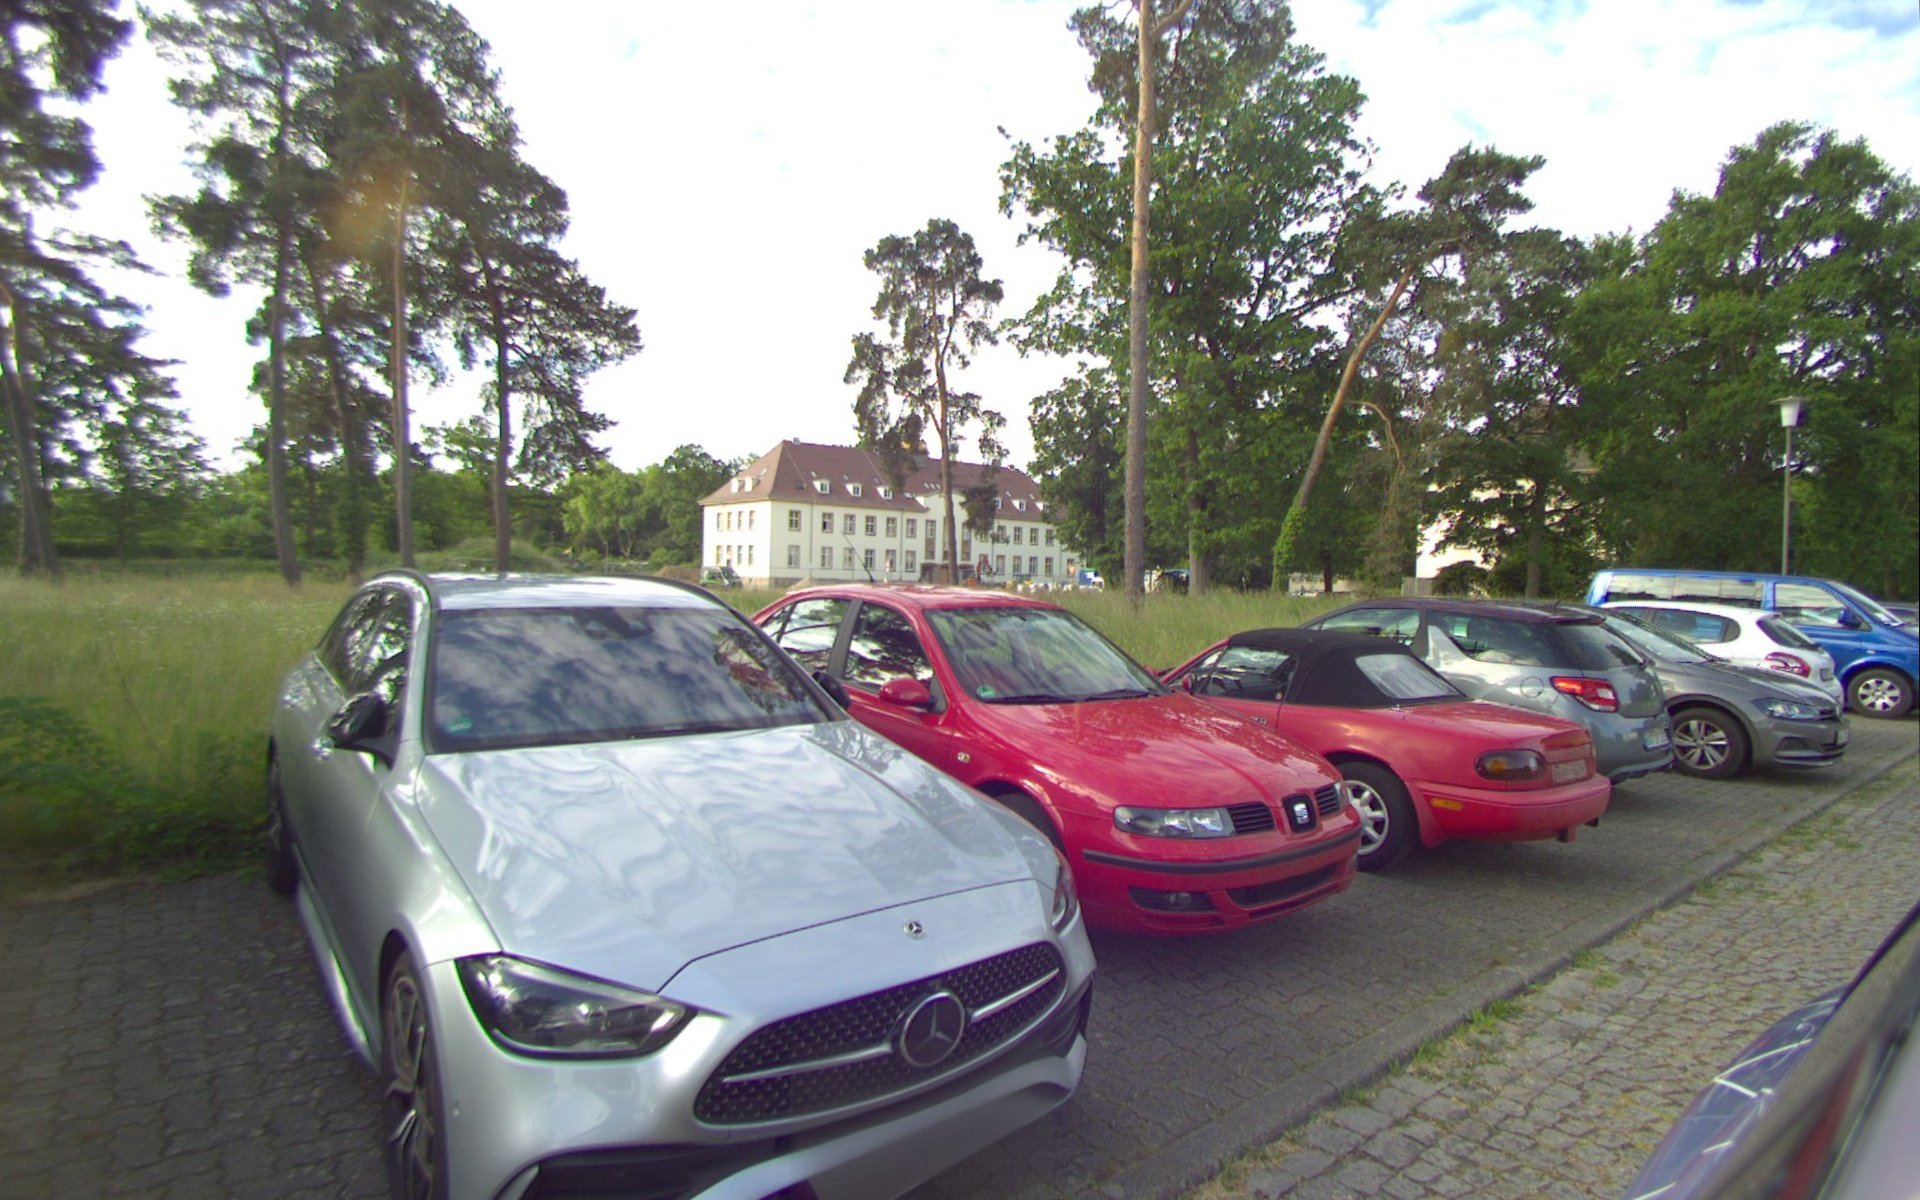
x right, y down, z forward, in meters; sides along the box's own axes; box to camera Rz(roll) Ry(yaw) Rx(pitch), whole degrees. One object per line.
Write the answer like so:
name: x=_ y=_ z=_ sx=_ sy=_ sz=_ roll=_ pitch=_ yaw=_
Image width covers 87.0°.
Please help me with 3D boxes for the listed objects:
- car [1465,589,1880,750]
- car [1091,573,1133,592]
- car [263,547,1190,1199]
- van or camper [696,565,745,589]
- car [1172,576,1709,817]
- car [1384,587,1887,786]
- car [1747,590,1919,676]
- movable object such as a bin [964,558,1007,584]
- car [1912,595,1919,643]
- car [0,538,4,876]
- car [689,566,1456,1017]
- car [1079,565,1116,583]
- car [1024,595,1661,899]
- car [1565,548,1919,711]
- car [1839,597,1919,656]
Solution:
car: x=8.345 y=0.686 z=12.159 sx=1.552 sy=1.517 sz=3.764 roll=0 pitch=2 yaw=-37
car: x=15.095 y=-1.707 z=100.481 sx=3.863 sy=1.704 sz=1.849 roll=0 pitch=3 yaw=-37
car: x=-1.421 y=0.563 z=3.953 sx=1.736 sy=1.446 sz=4.335 roll=0 pitch=2 yaw=-40
van or camper: x=-24.279 y=-2.370 z=102.457 sx=6.066 sy=2.250 sz=1.968 roll=3 pitch=2 yaw=44
car: x=3.848 y=0.603 z=8.659 sx=1.575 sy=1.522 sz=3.837 roll=0 pitch=2 yaw=-39
car: x=6.396 y=0.664 z=9.966 sx=1.612 sy=1.483 sz=3.783 roll=0 pitch=2 yaw=-37
car: x=18.929 y=0.666 z=21.037 sx=1.554 sy=1.621 sz=3.833 roll=1 pitch=1 yaw=-42
movable object such as a bin: x=3.032 y=-3.374 z=118.194 sx=5.119 sy=2.802 sz=1.995 roll=0 pitch=2 yaw=-45
car: x=34.762 y=0.729 z=33.945 sx=1.551 sy=1.638 sz=3.842 roll=1 pitch=2 yaw=-34
car: x=-3.446 y=0.553 z=2.227 sx=1.776 sy=1.501 sz=4.521 roll=0 pitch=2 yaw=-41
car: x=0.190 y=0.573 z=5.447 sx=1.688 sy=1.441 sz=4.118 roll=0 pitch=2 yaw=-38
car: x=16.238 y=-3.080 z=119.427 sx=3.923 sy=2.038 sz=2.221 roll=0 pitch=1 yaw=-34
car: x=2.202 y=0.692 z=6.586 sx=1.578 sy=1.303 sz=3.556 roll=2 pitch=1 yaw=-38
car: x=12.462 y=0.333 z=15.549 sx=2.023 sy=2.047 sz=4.957 roll=1 pitch=3 yaw=-38
car: x=26.661 y=0.744 z=27.653 sx=1.554 sy=1.544 sz=3.833 roll=0 pitch=2 yaw=-42
